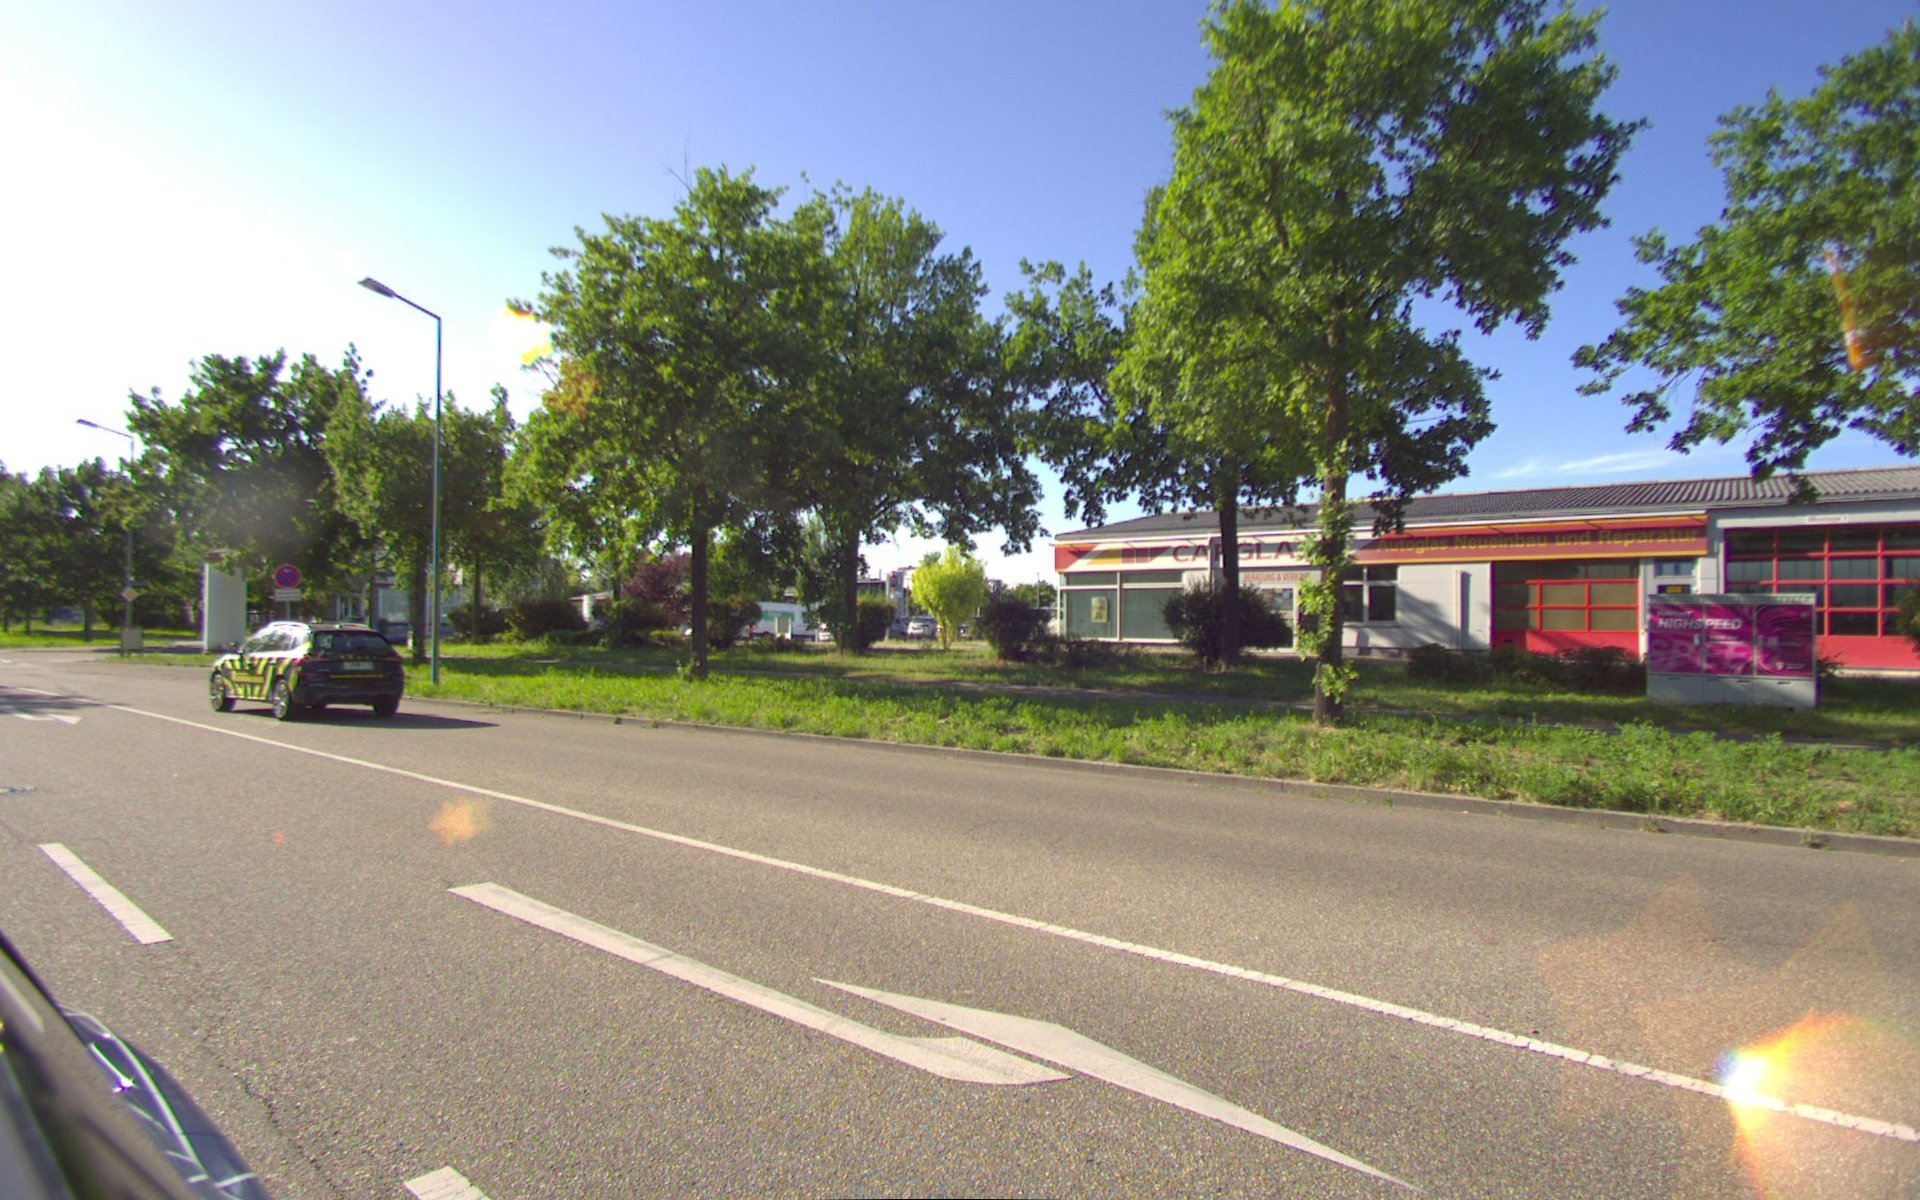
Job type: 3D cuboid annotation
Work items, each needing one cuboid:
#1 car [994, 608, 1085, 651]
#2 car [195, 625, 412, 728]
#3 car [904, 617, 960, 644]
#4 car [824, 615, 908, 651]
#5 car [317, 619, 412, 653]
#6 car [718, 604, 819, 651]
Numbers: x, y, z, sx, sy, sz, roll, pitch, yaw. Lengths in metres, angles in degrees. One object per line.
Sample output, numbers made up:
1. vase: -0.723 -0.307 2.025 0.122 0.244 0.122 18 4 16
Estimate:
1. car: 3.216 1.148 40.605 1.734 1.583 3.769 -3 -1 40
2. car: -11.218 1.214 17.215 4.072 1.537 1.746 -1 -3 36
3. car: -1.868 2.041 68.624 1.761 1.684 3.811 -1 0 40
4. car: -5.142 1.759 55.790 1.989 1.795 4.583 -1 0 40
5. car: -35.967 2.148 61.236 1.999 1.847 4.578 -1 0 41
6. car: -11.449 1.589 61.001 2.406 2.574 5.952 -1 0 36
